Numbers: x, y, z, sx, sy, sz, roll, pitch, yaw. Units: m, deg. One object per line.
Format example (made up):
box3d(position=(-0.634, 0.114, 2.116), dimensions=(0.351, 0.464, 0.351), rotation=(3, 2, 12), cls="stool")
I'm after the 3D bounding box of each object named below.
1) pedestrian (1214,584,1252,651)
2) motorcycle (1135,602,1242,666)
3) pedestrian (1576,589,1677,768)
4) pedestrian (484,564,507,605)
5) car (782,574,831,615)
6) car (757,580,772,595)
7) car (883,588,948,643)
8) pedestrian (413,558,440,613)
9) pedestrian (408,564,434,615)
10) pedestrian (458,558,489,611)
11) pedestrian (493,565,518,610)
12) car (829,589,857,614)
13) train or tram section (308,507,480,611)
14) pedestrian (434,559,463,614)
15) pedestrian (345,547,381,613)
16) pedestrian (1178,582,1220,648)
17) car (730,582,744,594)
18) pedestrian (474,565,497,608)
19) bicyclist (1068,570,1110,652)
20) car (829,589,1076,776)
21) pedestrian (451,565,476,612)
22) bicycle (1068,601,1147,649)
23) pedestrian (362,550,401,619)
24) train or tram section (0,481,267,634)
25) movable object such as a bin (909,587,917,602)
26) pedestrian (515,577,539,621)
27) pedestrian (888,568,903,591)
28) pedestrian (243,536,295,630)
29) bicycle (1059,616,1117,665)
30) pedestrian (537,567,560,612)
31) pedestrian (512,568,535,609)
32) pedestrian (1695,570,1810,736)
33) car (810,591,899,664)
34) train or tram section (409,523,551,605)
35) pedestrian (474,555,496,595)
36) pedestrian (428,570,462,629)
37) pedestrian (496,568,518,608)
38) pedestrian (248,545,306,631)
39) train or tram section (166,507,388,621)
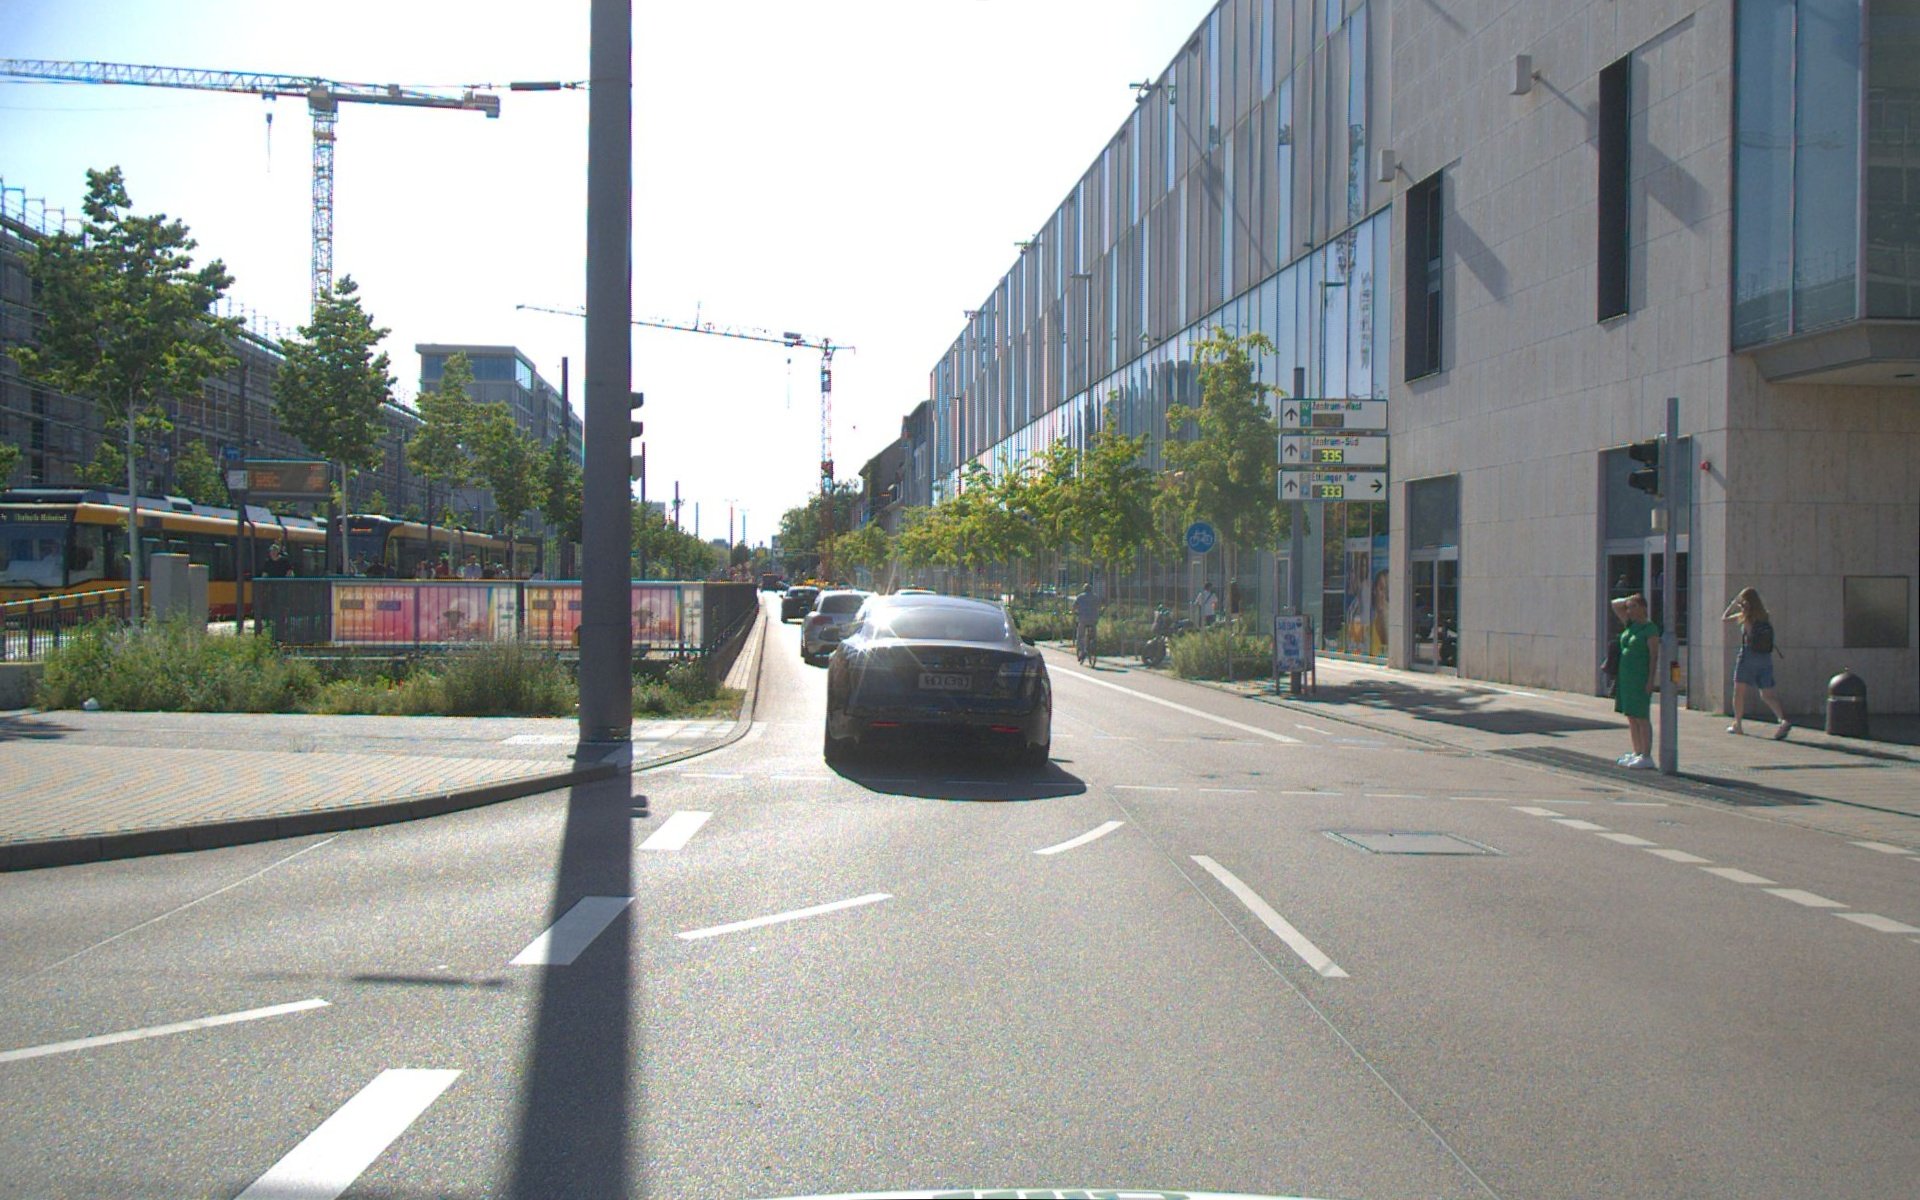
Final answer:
box3d(position=(7.042, 0.440, 42.688), dimensions=(0.694, 1.687, 0.898), rotation=(-2, 1, -11), cls="pedestrian")
box3d(position=(4.923, 0.723, 35.691), dimensions=(2.145, 1.347, 0.902), rotation=(-1, 0, -3), cls="motorcycle")
box3d(position=(6.693, 0.767, 16.634), dimensions=(0.645, 1.732, 0.696), rotation=(-2, 1, -8), cls="pedestrian")
box3d(position=(-18.763, -0.630, 66.810), dimensions=(0.727, 1.657, 0.860), rotation=(1, 0, -6), cls="pedestrian")
box3d(position=(-6.172, -0.248, 66.889), dimensions=(1.851, 1.624, 3.997), rotation=(0, 1, -4), cls="car")
box3d(position=(-24.940, -1.627, 210.667), dimensions=(1.778, 1.841, 4.034), rotation=(1, 1, -5), cls="car")
box3d(position=(-1.414, 0.440, 51.329), dimensions=(1.750, 1.573, 4.034), rotation=(1, 1, -5), cls="car")
box3d(position=(-18.162, -0.481, 56.332), dimensions=(0.659, 1.842, 1.073), rotation=(0, 0, -7), cls="pedestrian")
box3d(position=(-16.848, -0.331, 51.685), dimensions=(0.635, 1.539, 0.587), rotation=(2, 1, -10), cls="pedestrian")
box3d(position=(-17.437, -0.561, 59.289), dimensions=(0.870, 1.883, 1.006), rotation=(1, 0, -7), cls="pedestrian")
box3d(position=(-16.898, -0.467, 61.490), dimensions=(0.727, 1.657, 0.860), rotation=(1, 0, -6), cls="pedestrian")
box3d(position=(-7.949, 0.106, 112.359), dimensions=(1.851, 1.624, 3.997), rotation=(0, 1, -4), cls="car")
box3d(position=(-20.964, -1.440, 62.454), dimensions=(2.816, 3.336, 15.164), rotation=(2, 0, -6), cls="train or tram section")
box3d(position=(-17.411, -0.458, 56.318), dimensions=(0.755, 1.842, 1.029), rotation=(0, 0, -7), cls="pedestrian")
box3d(position=(-16.824, -0.567, 46.640), dimensions=(0.747, 1.806, 0.825), rotation=(2, 1, -9), cls="pedestrian")
box3d(position=(6.184, 0.380, 42.809), dimensions=(0.806, 1.687, 0.898), rotation=(1, 0, -11), cls="pedestrian")
box3d(position=(-34.500, -1.815, 255.918), dimensions=(1.956, 1.713, 3.993), rotation=(2, 0, -8), cls="car")
box3d(position=(-18.626, -0.525, 64.933), dimensions=(0.727, 1.657, 0.860), rotation=(1, 0, -6), cls="pedestrian")
box3d(position=(2.834, 0.232, 36.451), dimensions=(0.711, 1.767, 0.995), rotation=(0, 0, -10), cls="bicyclist")
box3d(position=(-0.219, 0.671, 15.492), dimensions=(1.960, 1.459, 4.408), rotation=(2, 0, -5), cls="car")
box3d(position=(-18.421, -0.429, 61.352), dimensions=(0.727, 1.724, 0.860), rotation=(1, 0, -6), cls="pedestrian")
box3d(position=(3.953, 0.665, 44.424), dimensions=(2.043, 1.226, 0.950), rotation=(-1, 0, 0), cls="bicycle")
box3d(position=(-15.644, -0.420, 44.752), dimensions=(0.776, 1.806, 0.977), rotation=(2, 1, -9), cls="pedestrian")
box3d(position=(-21.831, -1.046, 43.688), dimensions=(2.816, 3.367, 13.055), rotation=(2, 0, -6), cls="train or tram section")
box3d(position=(-3.837, -0.453, 135.251), dimensions=(0.547, 1.189, 0.562), rotation=(2, 0, -3), cls="movable object such as a bin")
box3d(position=(-16.454, -0.035, 62.831), dimensions=(0.727, 1.657, 0.860), rotation=(1, 0, -6), cls="pedestrian")
box3d(position=(-5.361, -1.697, 137.576), dimensions=(1.074, 1.896, 1.520), rotation=(0, 1, -8), cls="pedestrian")
box3d(position=(-13.710, -0.345, 32.855), dimensions=(0.690, 1.806, 0.957), rotation=(2, 1, -9), cls="pedestrian")
box3d(position=(2.811, 0.876, 36.462), dimensions=(0.715, 1.001, 2.328), rotation=(1, 0, -10), cls="bicycle")
box3d(position=(-15.624, -0.398, 62.848), dimensions=(0.727, 1.657, 0.860), rotation=(1, 0, -6), cls="pedestrian")
box3d(position=(-17.877, -0.486, 67.741), dimensions=(0.727, 1.657, 0.946), rotation=(1, 0, -6), cls="pedestrian")
box3d(position=(9.104, 0.588, 19.033), dimensions=(0.714, 1.833, 1.065), rotation=(-2, 1, -6), cls="pedestrian")
box3d(position=(-2.209, 0.520, 33.839), dimensions=(1.683, 1.343, 3.996), rotation=(1, 1, -6), cls="car")
box3d(position=(-23.038, -1.636, 80.992), dimensions=(2.816, 3.336, 22.113), rotation=(2, 0, -6), cls="train or tram section")
box3d(position=(-19.636, -1.024, 68.397), dimensions=(0.727, 1.657, 0.860), rotation=(1, 0, -6), cls="pedestrian")
box3d(position=(-14.795, -0.022, 47.529), dimensions=(0.727, 1.657, 0.860), rotation=(1, 0, -6), cls="pedestrian")
box3d(position=(-18.838, -0.489, 68.807), dimensions=(0.727, 1.657, 0.860), rotation=(1, 0, -6), cls="pedestrian")
box3d(position=(-14.822, -0.263, 35.931), dimensions=(0.858, 1.806, 1.187), rotation=(2, 1, -9), cls="pedestrian")
box3d(position=(-23.463, -1.194, 58.102), dimensions=(2.793, 3.379, 15.944), rotation=(2, 1, -6), cls="train or tram section")
